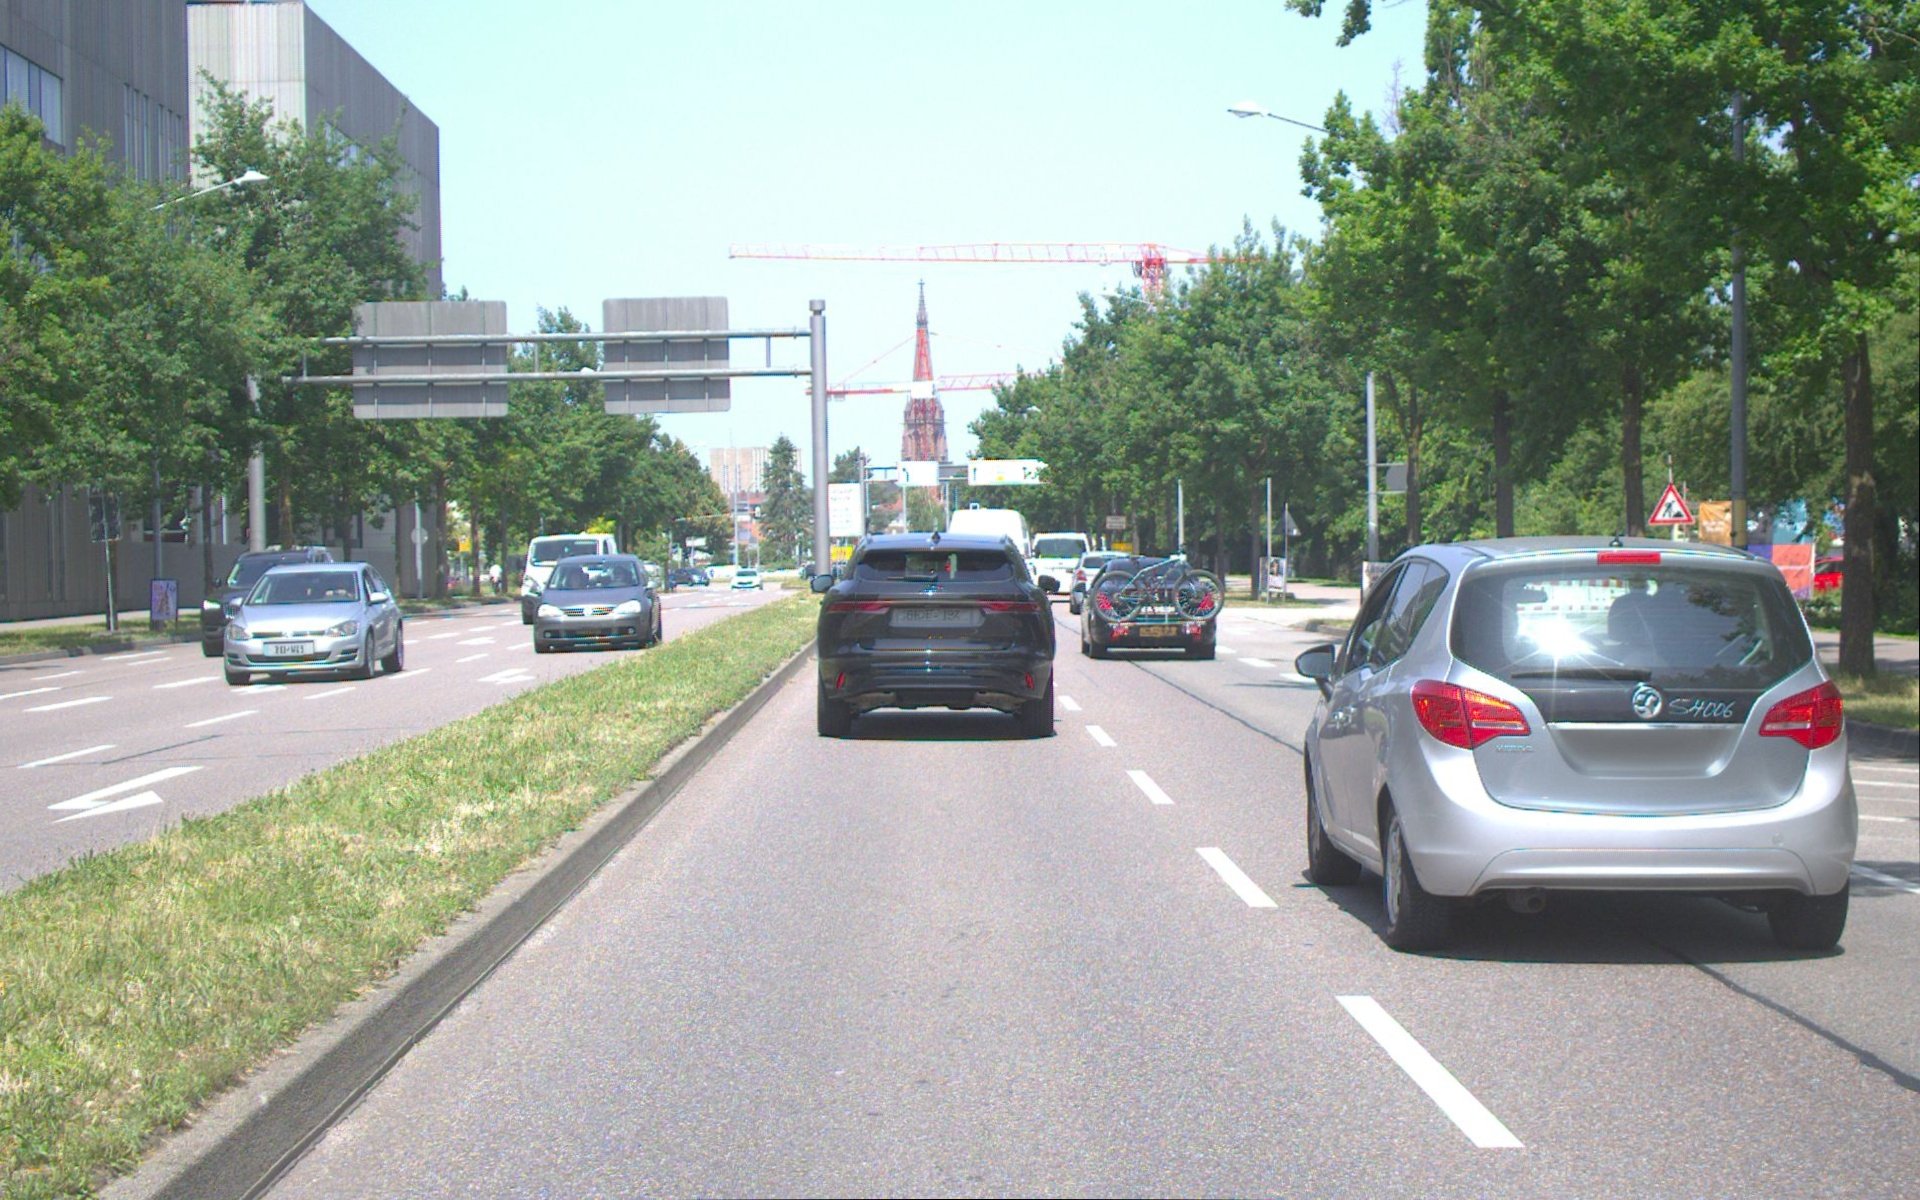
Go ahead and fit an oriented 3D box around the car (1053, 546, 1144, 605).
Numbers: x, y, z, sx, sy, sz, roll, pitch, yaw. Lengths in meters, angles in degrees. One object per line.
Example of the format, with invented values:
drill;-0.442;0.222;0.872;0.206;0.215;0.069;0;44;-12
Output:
car;3.306;-0.579;82.792;1.654;1.351;4.461;-1;0;-4

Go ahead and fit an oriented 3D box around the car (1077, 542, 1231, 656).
car;2.690;-0.031;48.592;2.014;1.512;4.460;-1;0;1

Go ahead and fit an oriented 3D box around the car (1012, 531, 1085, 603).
car;2.545;-0.959;99.341;1.993;2.007;4.000;-1;1;0

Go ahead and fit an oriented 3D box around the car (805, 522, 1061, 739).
car;-0.181;0.210;28.944;1.998;1.684;4.033;0;1;1

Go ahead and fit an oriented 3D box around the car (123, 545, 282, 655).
car;-12.854;-0.033;58.597;1.810;1.741;4.647;-2;1;-2

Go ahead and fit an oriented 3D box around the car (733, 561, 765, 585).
car;-13.097;-1.704;213.574;1.810;1.422;4.359;-2;1;-2

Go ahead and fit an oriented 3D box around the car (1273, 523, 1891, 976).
car;2.415;0.506;14.303;1.792;1.606;3.891;-1;1;-1

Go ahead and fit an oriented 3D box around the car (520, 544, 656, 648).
car;-5.645;-0.083;52.534;1.810;1.461;4.058;-2;1;-3

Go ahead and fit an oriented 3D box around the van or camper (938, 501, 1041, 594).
van or camper;0.789;-1.334;88.547;2.493;2.283;4.920;-1;0;2

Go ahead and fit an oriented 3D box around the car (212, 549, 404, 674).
car;-8.233;0.114;43.711;1.765;1.455;4.145;-2;1;-2

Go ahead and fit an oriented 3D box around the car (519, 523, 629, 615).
car;-8.789;-0.728;78.615;1.909;1.986;4.898;-2;1;0

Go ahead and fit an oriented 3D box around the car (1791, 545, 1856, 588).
car;24.896;-0.978;99.199;1.380;1.183;3.302;-1;1;6
